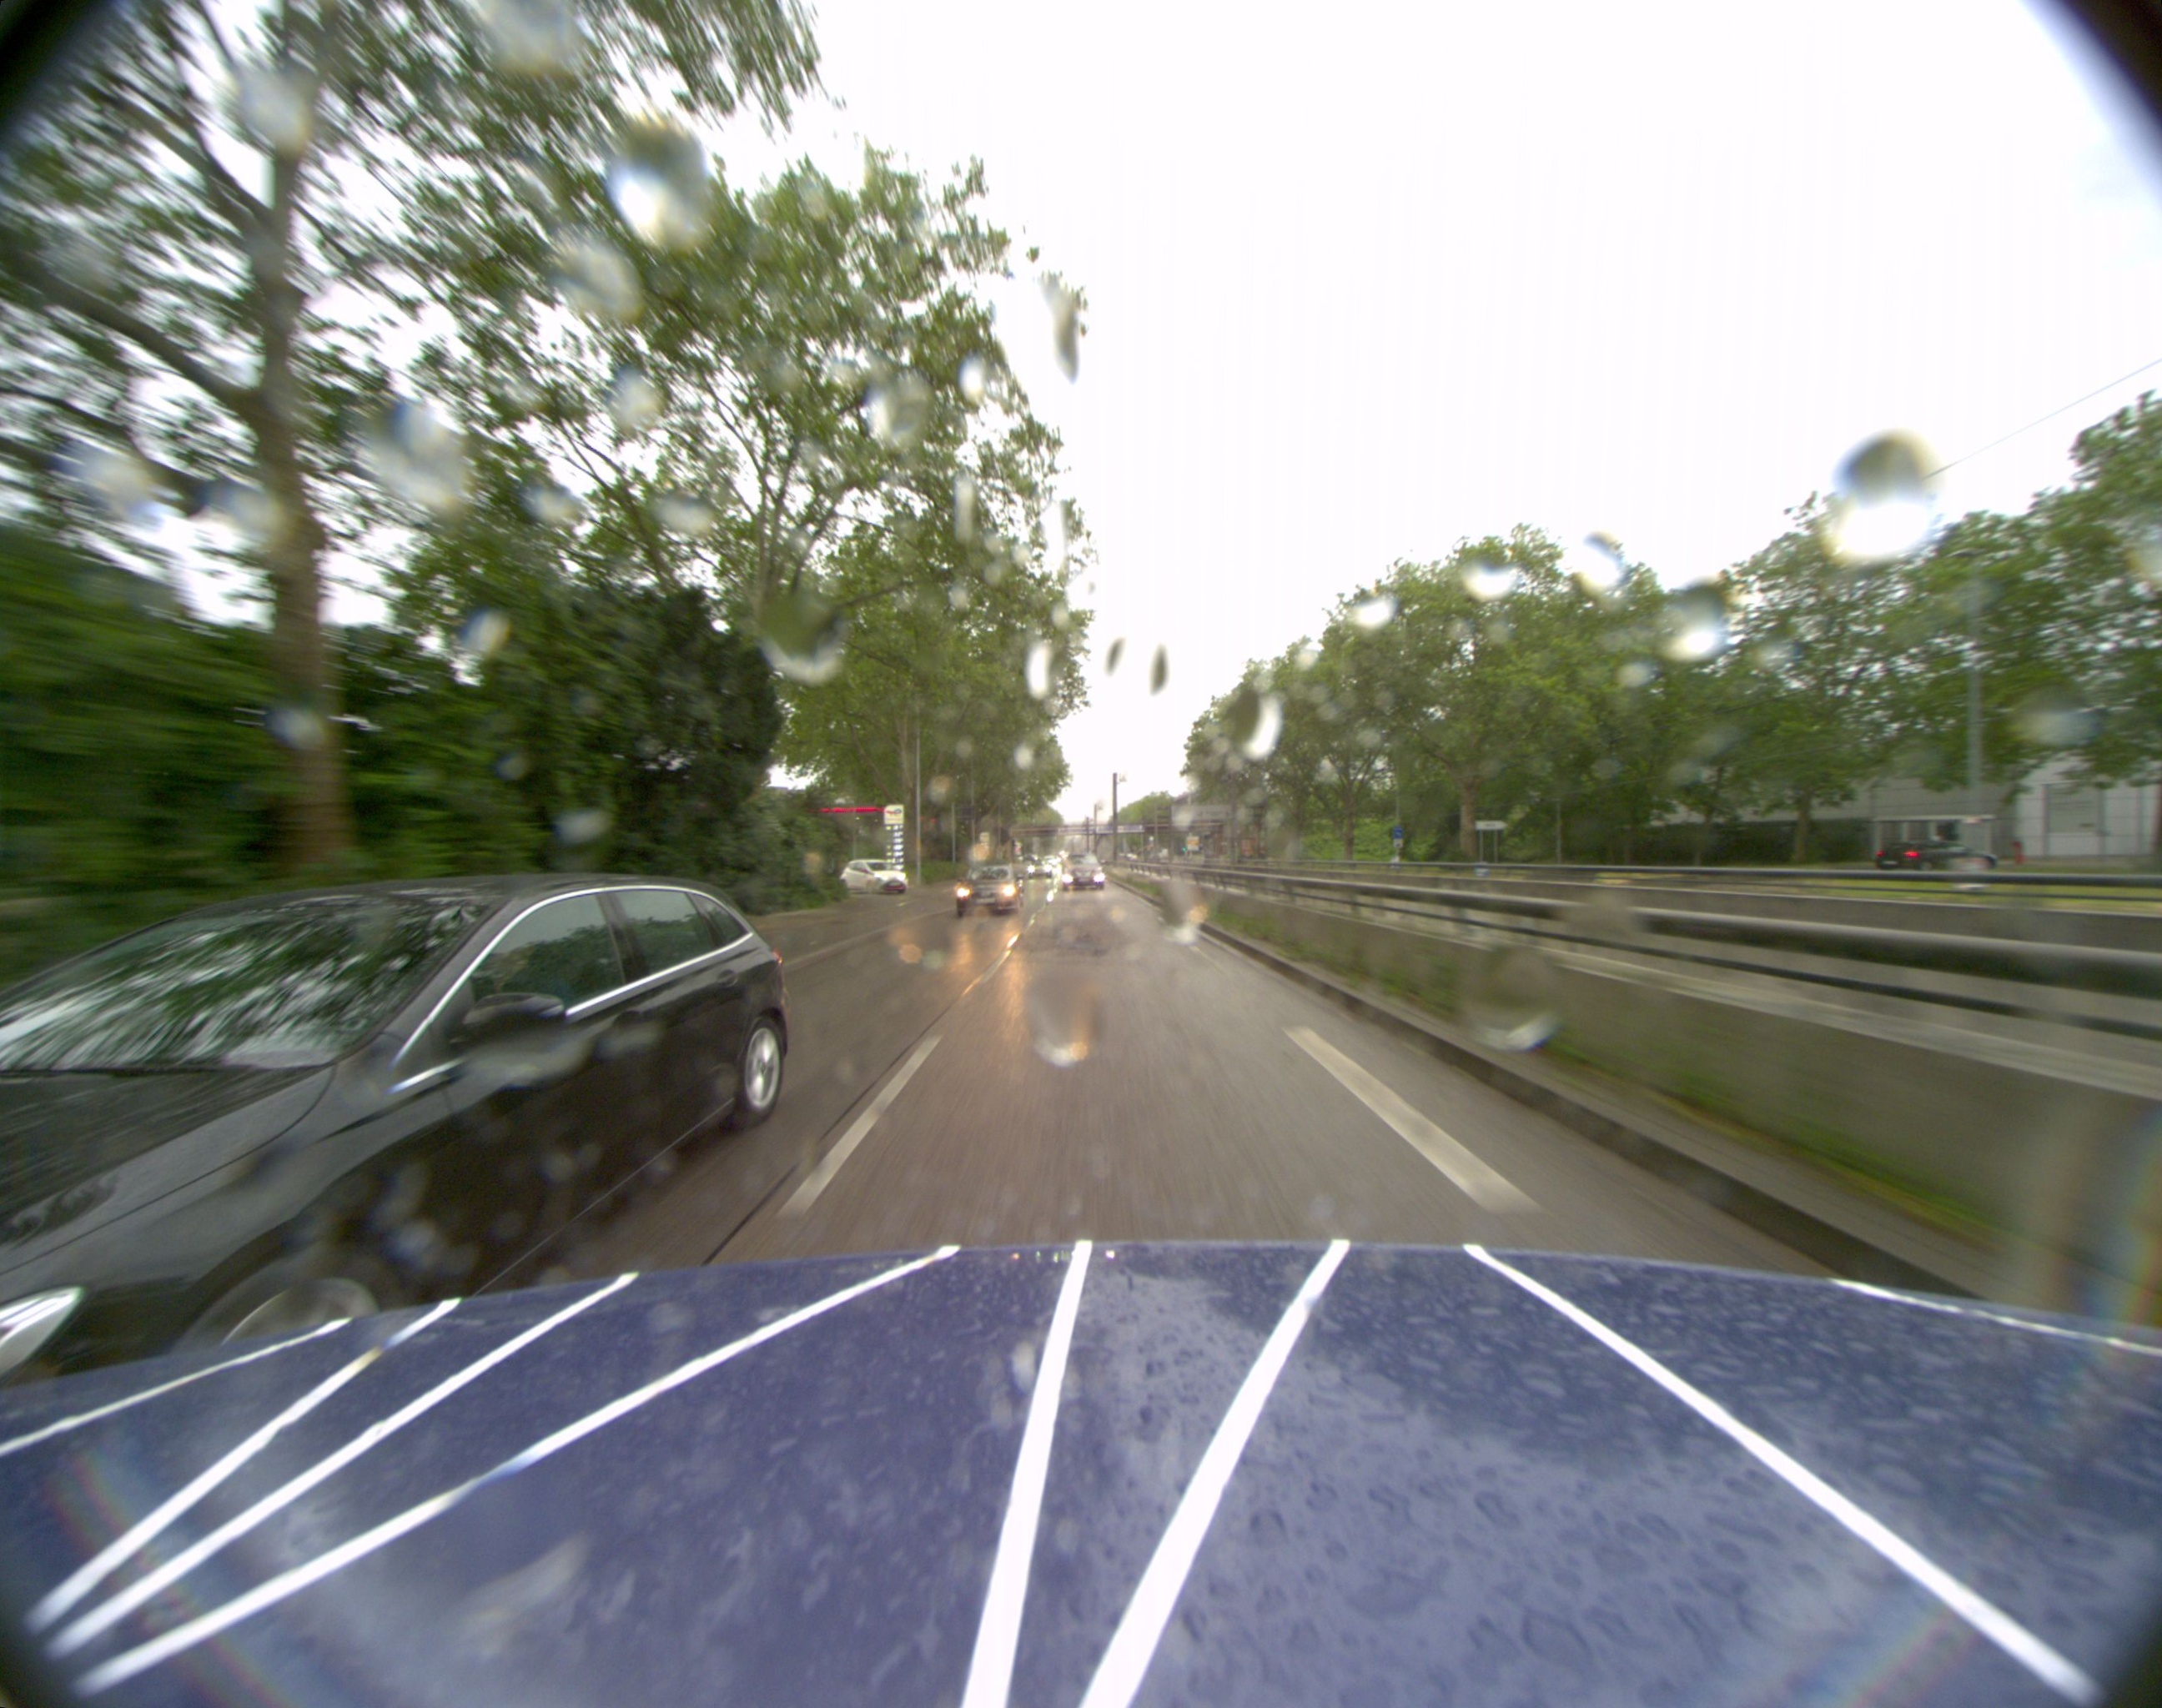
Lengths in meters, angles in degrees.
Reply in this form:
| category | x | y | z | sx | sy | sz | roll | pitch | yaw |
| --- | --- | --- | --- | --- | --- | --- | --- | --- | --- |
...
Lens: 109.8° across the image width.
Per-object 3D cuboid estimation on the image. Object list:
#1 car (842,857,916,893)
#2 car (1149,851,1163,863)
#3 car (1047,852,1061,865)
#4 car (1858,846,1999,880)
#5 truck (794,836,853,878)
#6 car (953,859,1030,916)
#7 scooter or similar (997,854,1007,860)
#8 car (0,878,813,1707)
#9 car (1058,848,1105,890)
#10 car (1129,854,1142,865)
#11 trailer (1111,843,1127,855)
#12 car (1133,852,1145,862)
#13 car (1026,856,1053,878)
| category | x | y | z | sx | sy | sz | roll | pitch | yaw |
| --- | --- | --- | --- | --- | --- | --- | --- | --- | --- |
| car | -8.908 | 0.921 | 33.362 | 1.611 | 1.423 | 3.546 | -4 | 1 | -42 |
| car | 13.595 | 0.579 | 138.066 | 1.999 | 2.002 | 4.509 | -3 | 1 | -1 |
| car | -3.702 | 0.586 | 105.983 | 1.869 | 1.689 | 4.425 | -1 | 0 | -1 |
| car | 37.825 | 0.408 | 34.010 | 3.788 | 1.395 | 2.002 | -1 | 0 | 11 |
| truck | -22.314 | 0.230 | 66.360 | 2.701 | 3.332 | 7.767 | -3 | 1 | -3 |
| car | -2.505 | 0.913 | 22.073 | 1.641 | 1.377 | 3.781 | -2 | 1 | 1 |
| scooter or similar | -13.403 | 0.463 | 128.853 | 0.452 | 1.004 | 1.742 | -2 | 1 | 36 |
| car | -2.755 | 0.984 | 2.917 | 1.821 | 1.521 | 4.421 | -3 | 0 | 0 |
| car | 0.081 | 0.688 | 35.606 | 1.975 | 1.794 | 4.159 | -2 | 0 | 2 |
| car | 10.729 | 1.075 | 148.736 | 1.999 | 2.002 | 4.615 | -3 | 1 | -1 |
| trailer | 11.562 | -1.561 | 231.888 | 3.332 | 3.241 | 11.116 | -3 | 0 | -6 |
| car | 12.362 | 0.541 | 161.828 | 1.999 | 2.002 | 3.999 | -3 | 1 | -1 |
| car | -3.133 | 0.983 | 58.186 | 1.821 | 1.520 | 4.158 | -1 | 0 | -1 |
